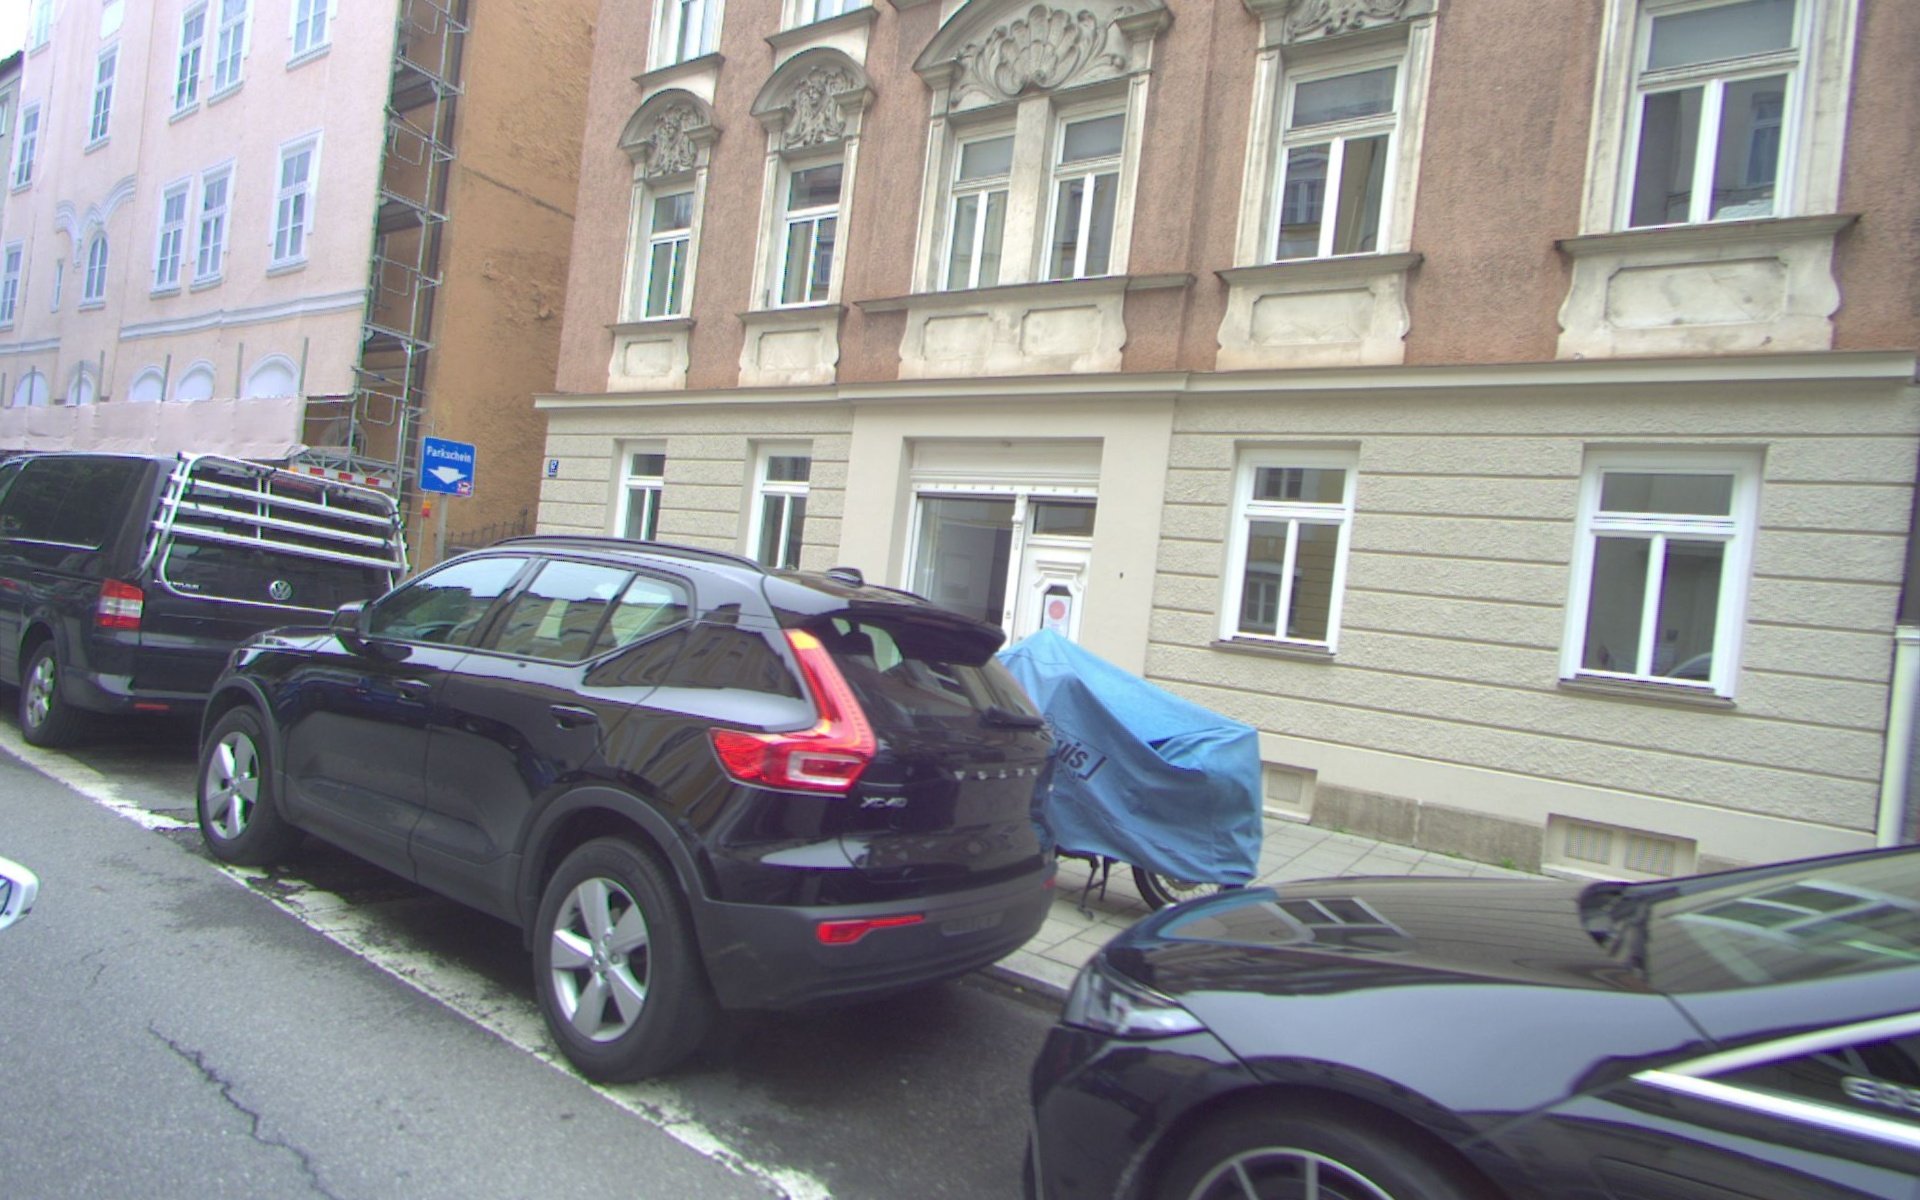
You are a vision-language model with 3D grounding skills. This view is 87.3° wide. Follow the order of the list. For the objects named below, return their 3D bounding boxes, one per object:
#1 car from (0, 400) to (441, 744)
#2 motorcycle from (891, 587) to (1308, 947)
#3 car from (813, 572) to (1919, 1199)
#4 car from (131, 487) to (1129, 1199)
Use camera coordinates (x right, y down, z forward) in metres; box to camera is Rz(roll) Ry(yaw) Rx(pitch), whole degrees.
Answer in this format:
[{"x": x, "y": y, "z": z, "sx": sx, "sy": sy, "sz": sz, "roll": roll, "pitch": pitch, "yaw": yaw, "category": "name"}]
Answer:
[{"x": -6.581, "y": -0.177, "z": 7.952, "sx": 5.060, "sy": 1.942, "sz": 2.085, "roll": 4, "pitch": -4, "yaw": 34, "category": "car"}, {"x": 0.734, "y": 0.808, "z": 5.598, "sx": 1.966, "sy": 1.523, "sz": 0.872, "roll": 7, "pitch": 0, "yaw": 35, "category": "motorcycle"}, {"x": 2.575, "y": 1.080, "z": 1.578, "sx": 5.544, "sy": 1.571, "sz": 1.934, "roll": 7, "pitch": -1, "yaw": 32, "category": "car"}, {"x": -1.691, "y": 0.584, "z": 4.428, "sx": 4.337, "sy": 1.694, "sz": 1.697, "roll": 6, "pitch": -4, "yaw": 34, "category": "car"}]
